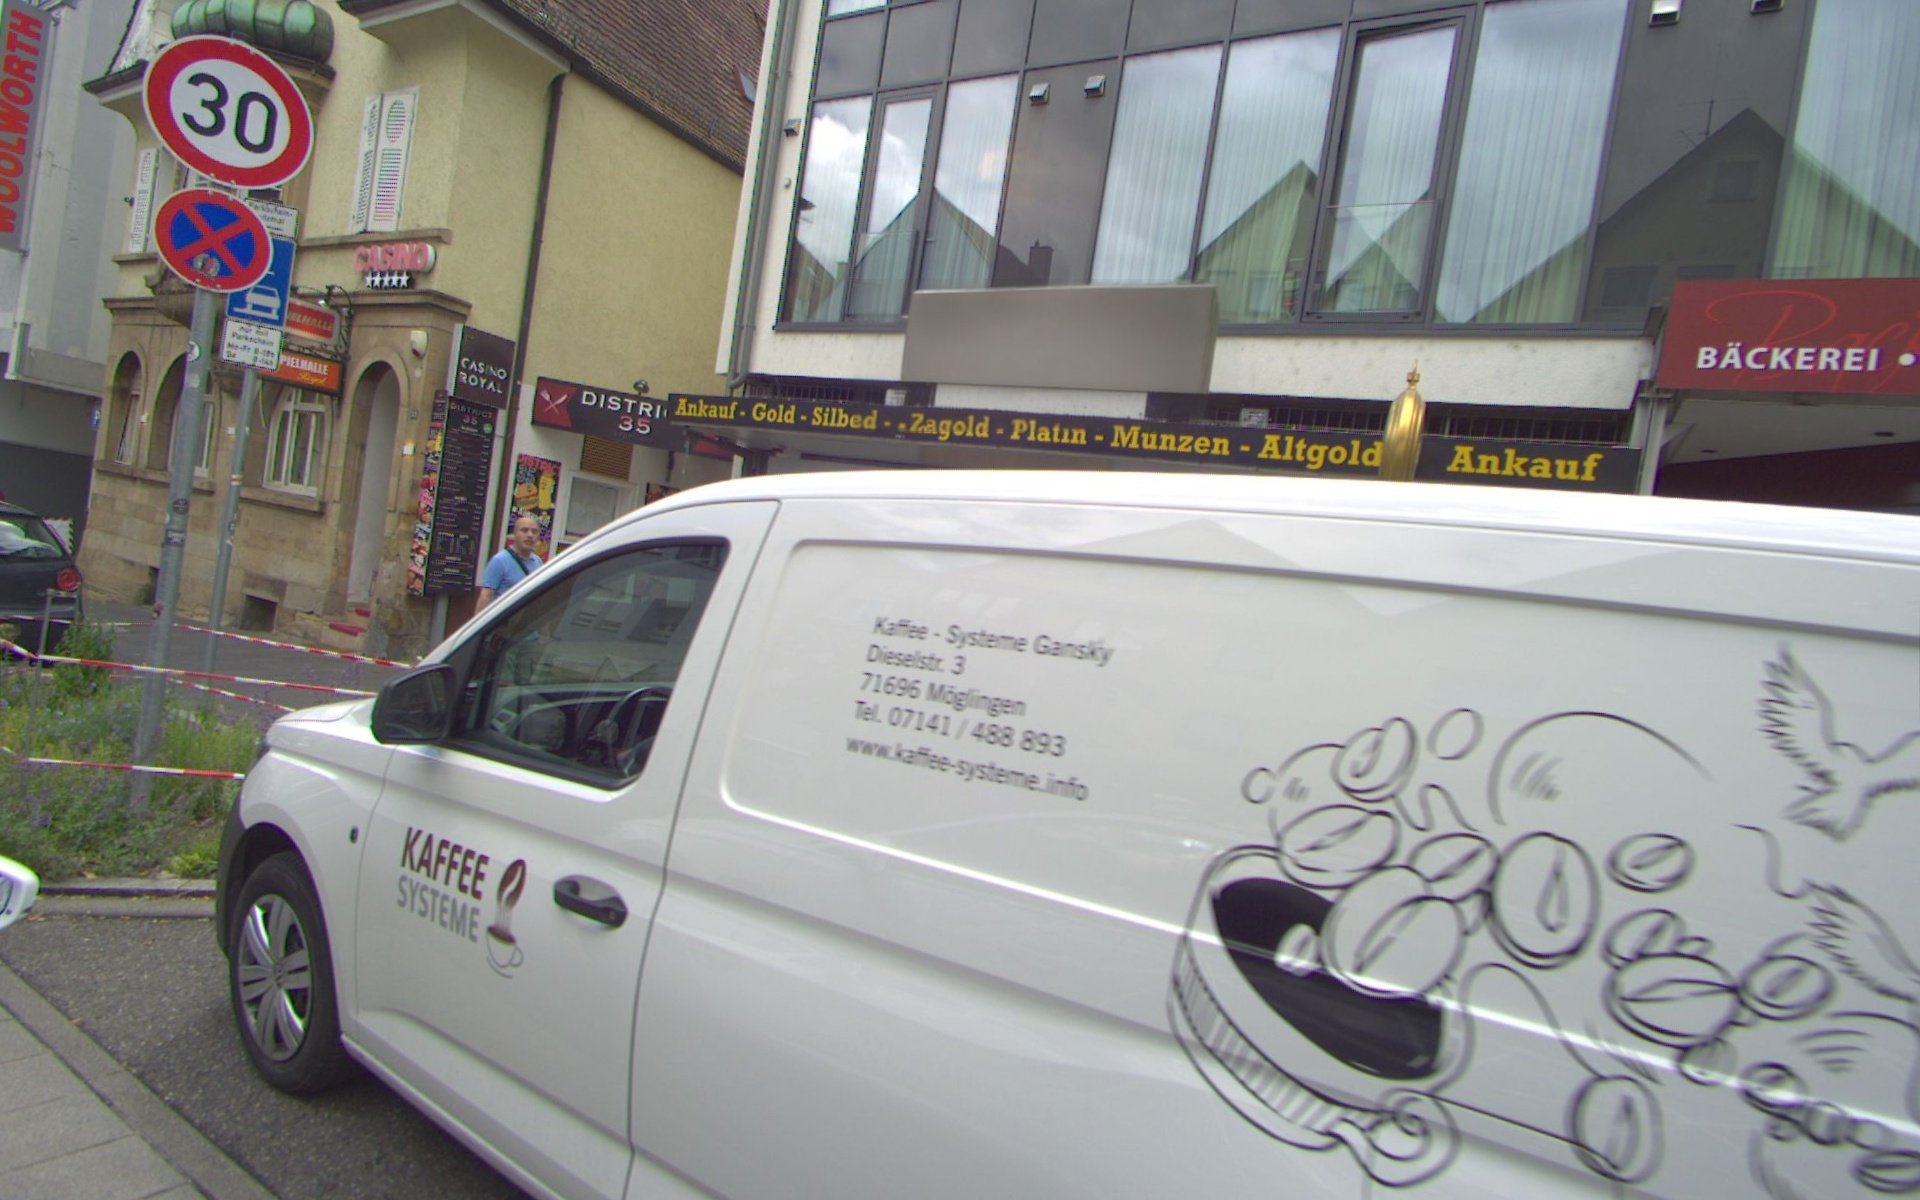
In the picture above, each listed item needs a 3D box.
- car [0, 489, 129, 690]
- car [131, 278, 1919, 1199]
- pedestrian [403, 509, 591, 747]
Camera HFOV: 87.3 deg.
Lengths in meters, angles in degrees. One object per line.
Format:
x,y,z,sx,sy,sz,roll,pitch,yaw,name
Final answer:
-8.999,-0.251,8.487,3.808,1.528,1.750,6,1,29,car
-0.093,0.572,2.586,4.658,1.821,1.878,6,-1,35,car
-3.735,0.211,8.124,1.035,1.748,0.797,6,0,32,pedestrian
